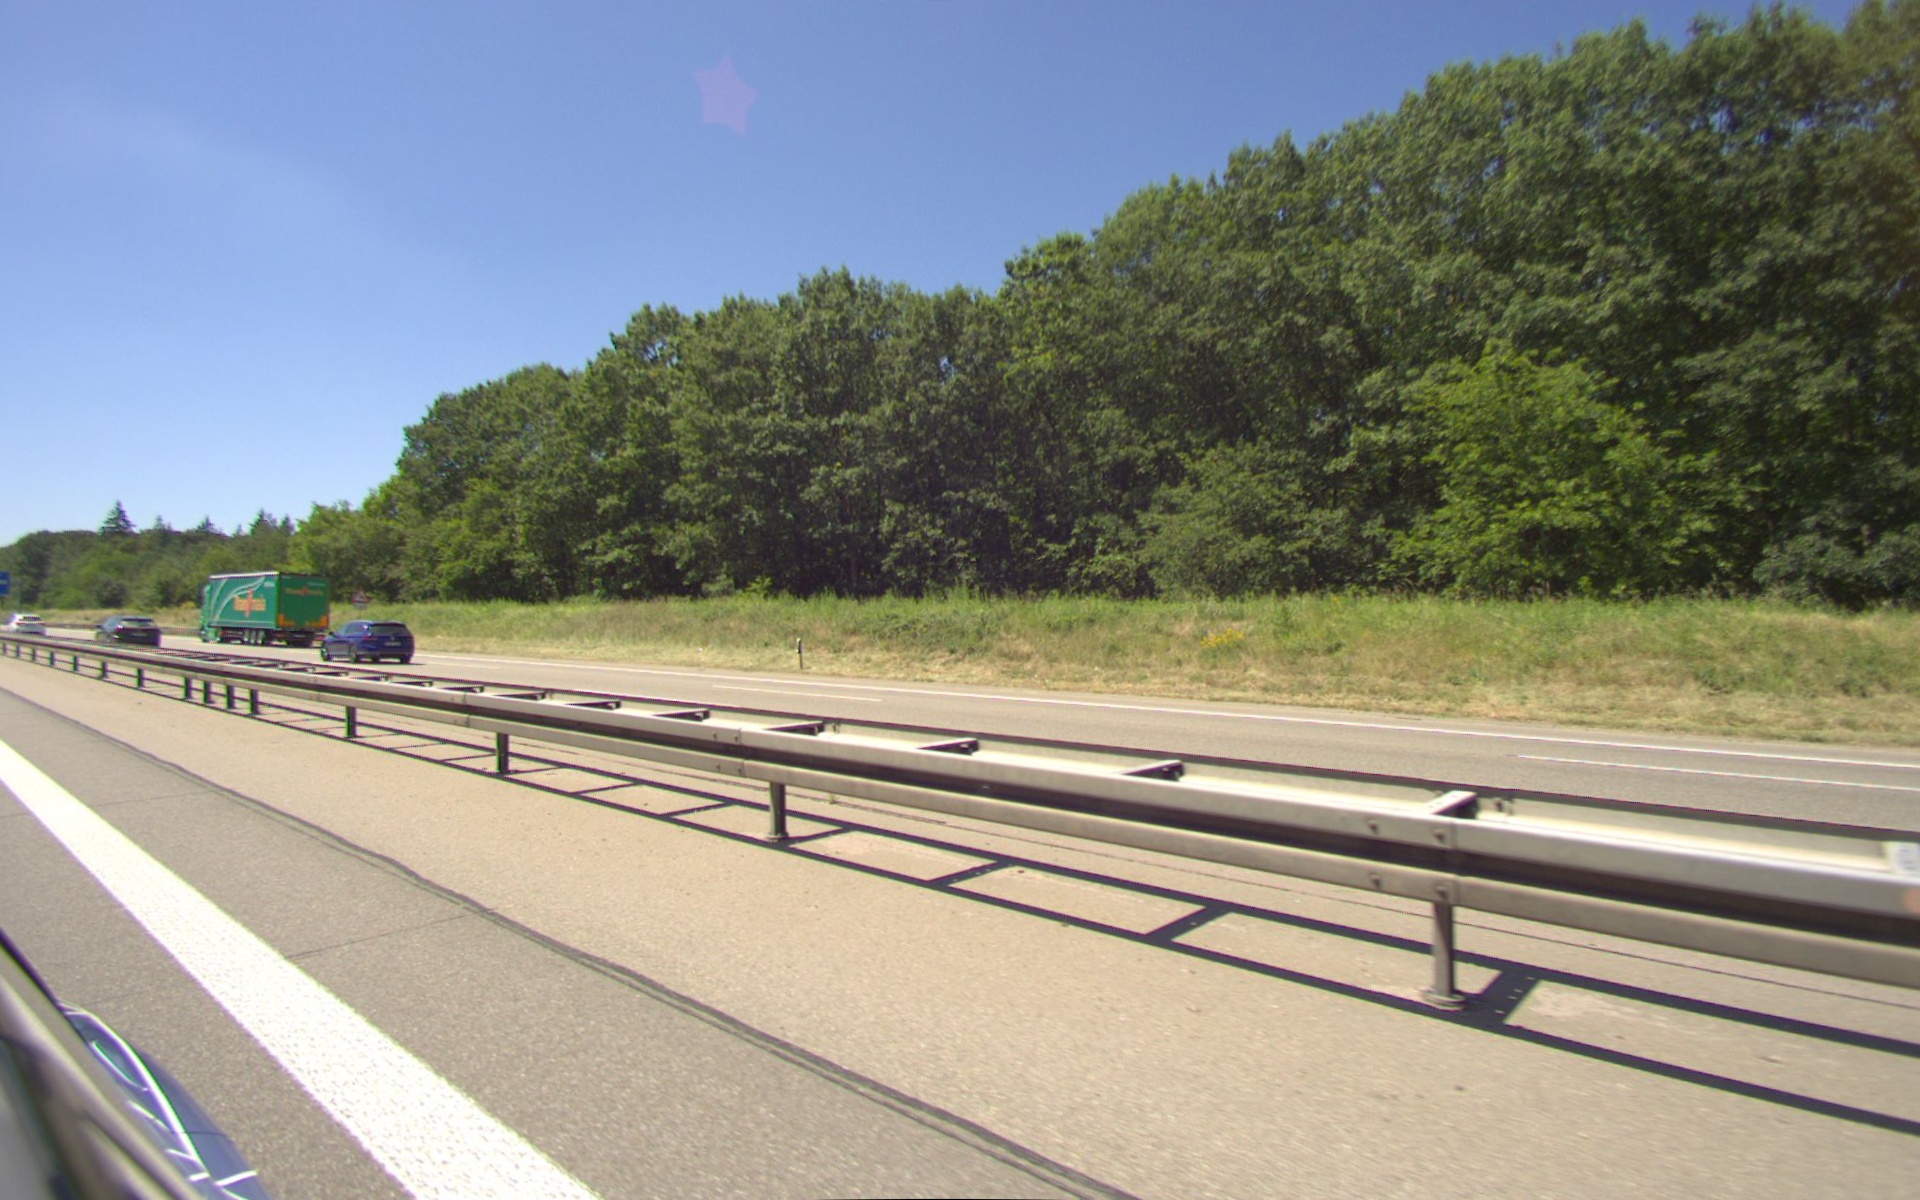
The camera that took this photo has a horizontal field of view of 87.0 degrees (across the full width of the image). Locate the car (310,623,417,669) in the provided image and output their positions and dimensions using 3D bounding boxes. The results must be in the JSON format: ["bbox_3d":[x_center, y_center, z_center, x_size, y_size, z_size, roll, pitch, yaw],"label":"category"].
[{"bbox_3d":[-20.800,1.570,35.186,5.134,1.454,1.656,-1,-4,42],"label":"car"}]

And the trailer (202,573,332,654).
[{"bbox_3d":[-40.795,0.852,59.238,14.332,4.193,2.676,-1,-4,42],"label":"trailer"}]

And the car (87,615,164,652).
[{"bbox_3d":[-35.593,1.408,43.127,5.081,1.421,1.691,-1,-4,42],"label":"car"}]

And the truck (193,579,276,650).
[{"bbox_3d":[-45.538,0.930,63.458,6.294,4.193,2.672,-1,-4,42],"label":"truck"}]

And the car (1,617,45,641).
[{"bbox_3d":[-63.094,1.955,68.130,4.598,1.512,1.638,-1,-4,42],"label":"car"}]
